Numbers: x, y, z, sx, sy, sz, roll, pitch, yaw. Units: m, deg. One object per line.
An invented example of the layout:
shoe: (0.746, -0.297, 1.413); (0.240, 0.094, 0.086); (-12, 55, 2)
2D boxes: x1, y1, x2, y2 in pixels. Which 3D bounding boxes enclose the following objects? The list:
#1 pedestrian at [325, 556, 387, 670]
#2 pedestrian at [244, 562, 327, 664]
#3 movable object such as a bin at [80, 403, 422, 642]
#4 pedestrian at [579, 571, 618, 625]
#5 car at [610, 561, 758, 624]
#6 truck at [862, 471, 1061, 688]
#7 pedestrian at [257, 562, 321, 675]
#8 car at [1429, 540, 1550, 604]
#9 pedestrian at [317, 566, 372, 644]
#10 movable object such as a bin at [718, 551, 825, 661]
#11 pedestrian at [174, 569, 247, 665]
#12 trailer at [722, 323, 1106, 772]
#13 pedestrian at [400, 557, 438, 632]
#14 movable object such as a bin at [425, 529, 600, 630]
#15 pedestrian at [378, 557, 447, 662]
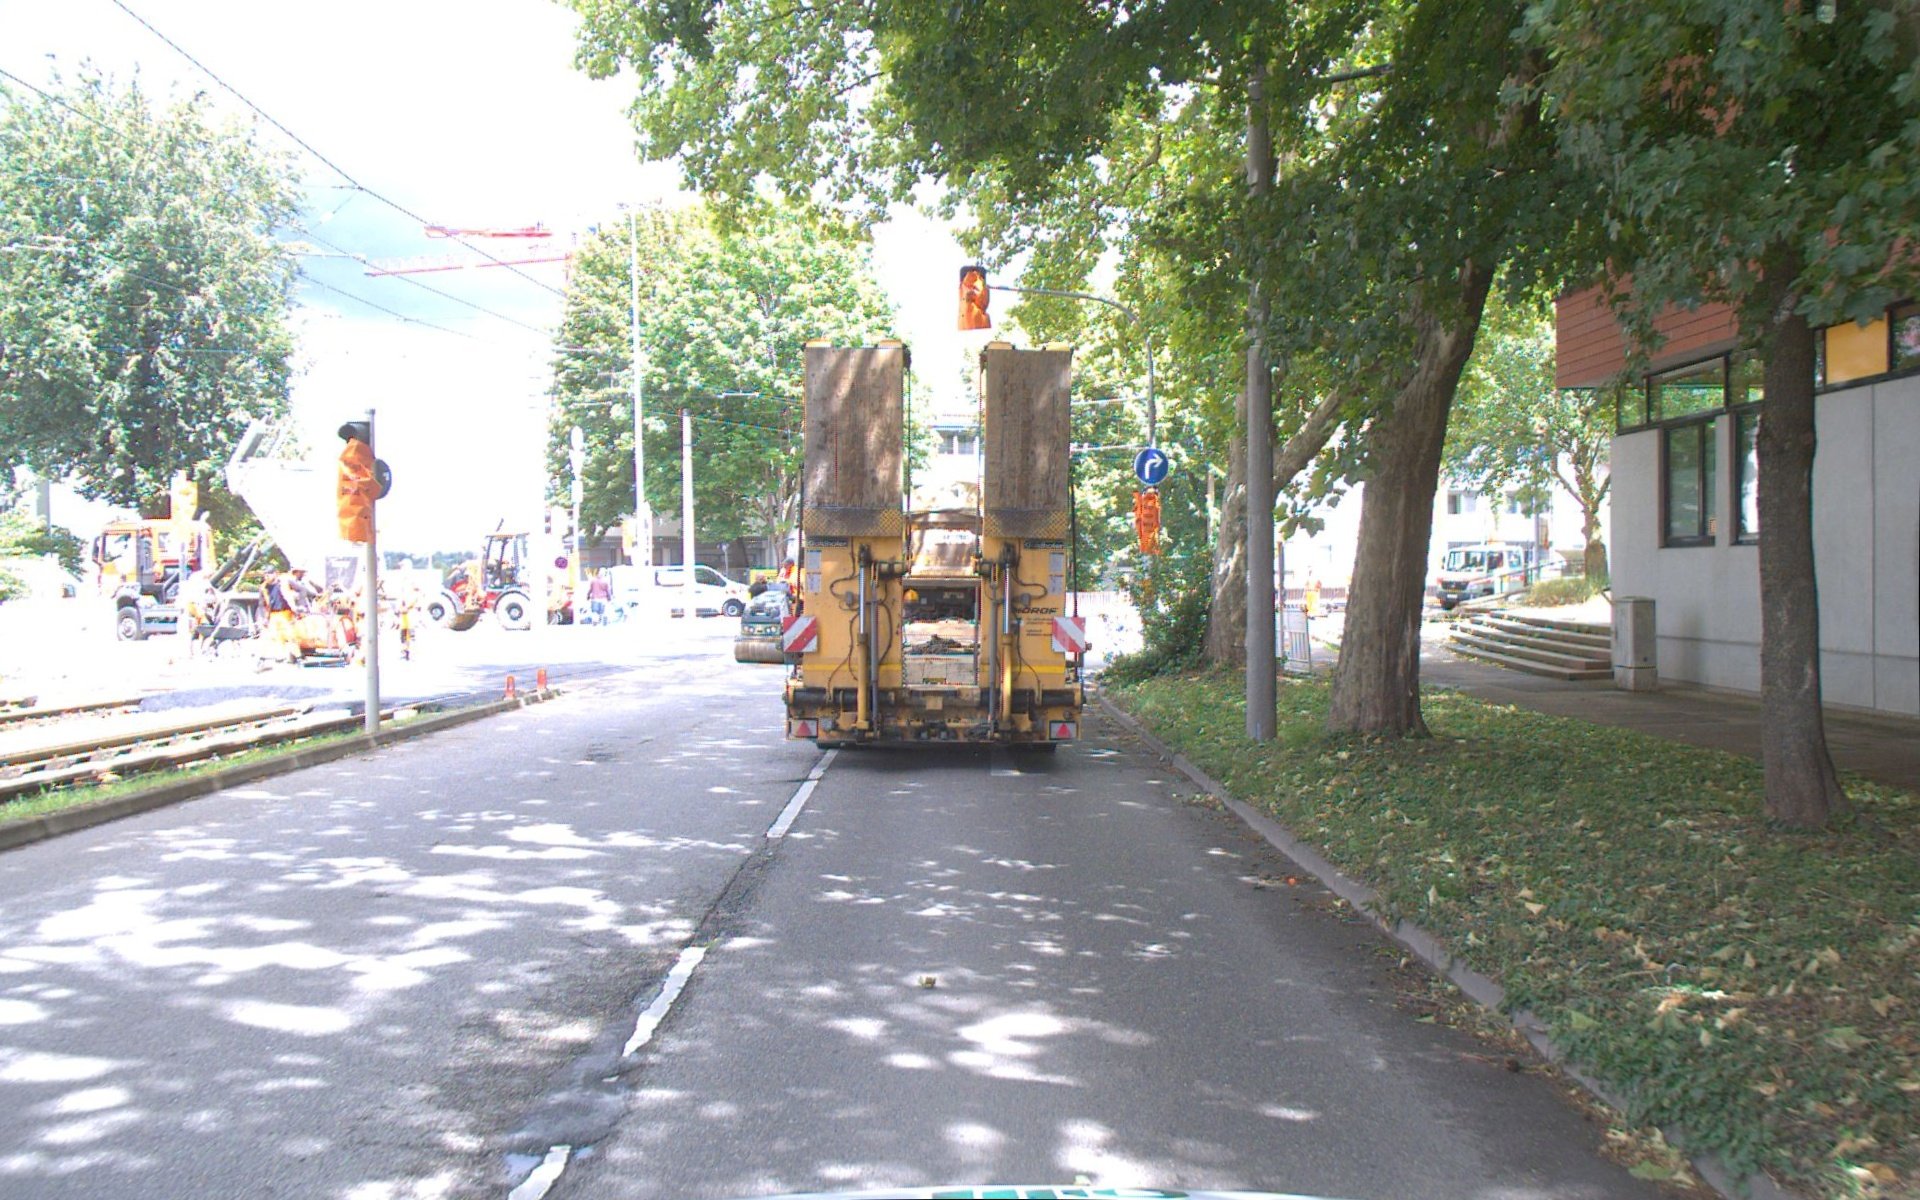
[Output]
pedestrian: (-10.317, 0.216, 28.241); (0.876, 1.900, 0.829); (0, 0, -29)
pedestrian: (-11.835, 0.223, 29.026); (1.102, 1.745, 0.873); (0, 0, -45)
movable object such as a bin: (-17.837, -1.827, 41.421); (9.021, 5.509, 2.661); (0, 0, 26)
pedestrian: (-9.793, -0.057, 44.823); (0.898, 1.433, 0.752); (0, 0, -3)
car: (-9.715, -0.244, 58.096); (5.004, 2.139, 1.969); (0, 0, -15)
truck: (0.173, -0.321, 28.390); (2.927, 3.190, 7.890); (0, 0, 2)
pedestrian: (-10.888, 0.295, 26.851); (0.871, 1.791, 0.833); (0, 0, -17)
car: (20.356, -1.058, 63.582); (4.191, 2.406, 2.139); (0, 0, -28)
pedestrian: (-13.478, 0.109, 36.255); (0.867, 1.673, 0.900); (0, 0, -1)
movable object such as a bin: (-3.625, 0.101, 32.094); (1.369, 2.049, 2.558); (0, 0, 10)
pedestrian: (-13.297, 0.290, 29.357); (0.820, 1.673, 0.886); (1, 0, 33)
trailer: (-0.154, -0.455, 18.942); (3.088, 3.615, 11.100); (0, 0, 2)
pedestrian: (-13.868, -0.149, 42.385); (0.820, 1.900, 0.885); (0, 0, -12)
movable object such as a bin: (-12.369, -0.554, 45.731); (4.281, 2.675, 2.218); (0, 0, 26)
pedestrian: (-10.105, 0.159, 30.526); (0.868, 1.900, 0.836); (1, 0, 28)
